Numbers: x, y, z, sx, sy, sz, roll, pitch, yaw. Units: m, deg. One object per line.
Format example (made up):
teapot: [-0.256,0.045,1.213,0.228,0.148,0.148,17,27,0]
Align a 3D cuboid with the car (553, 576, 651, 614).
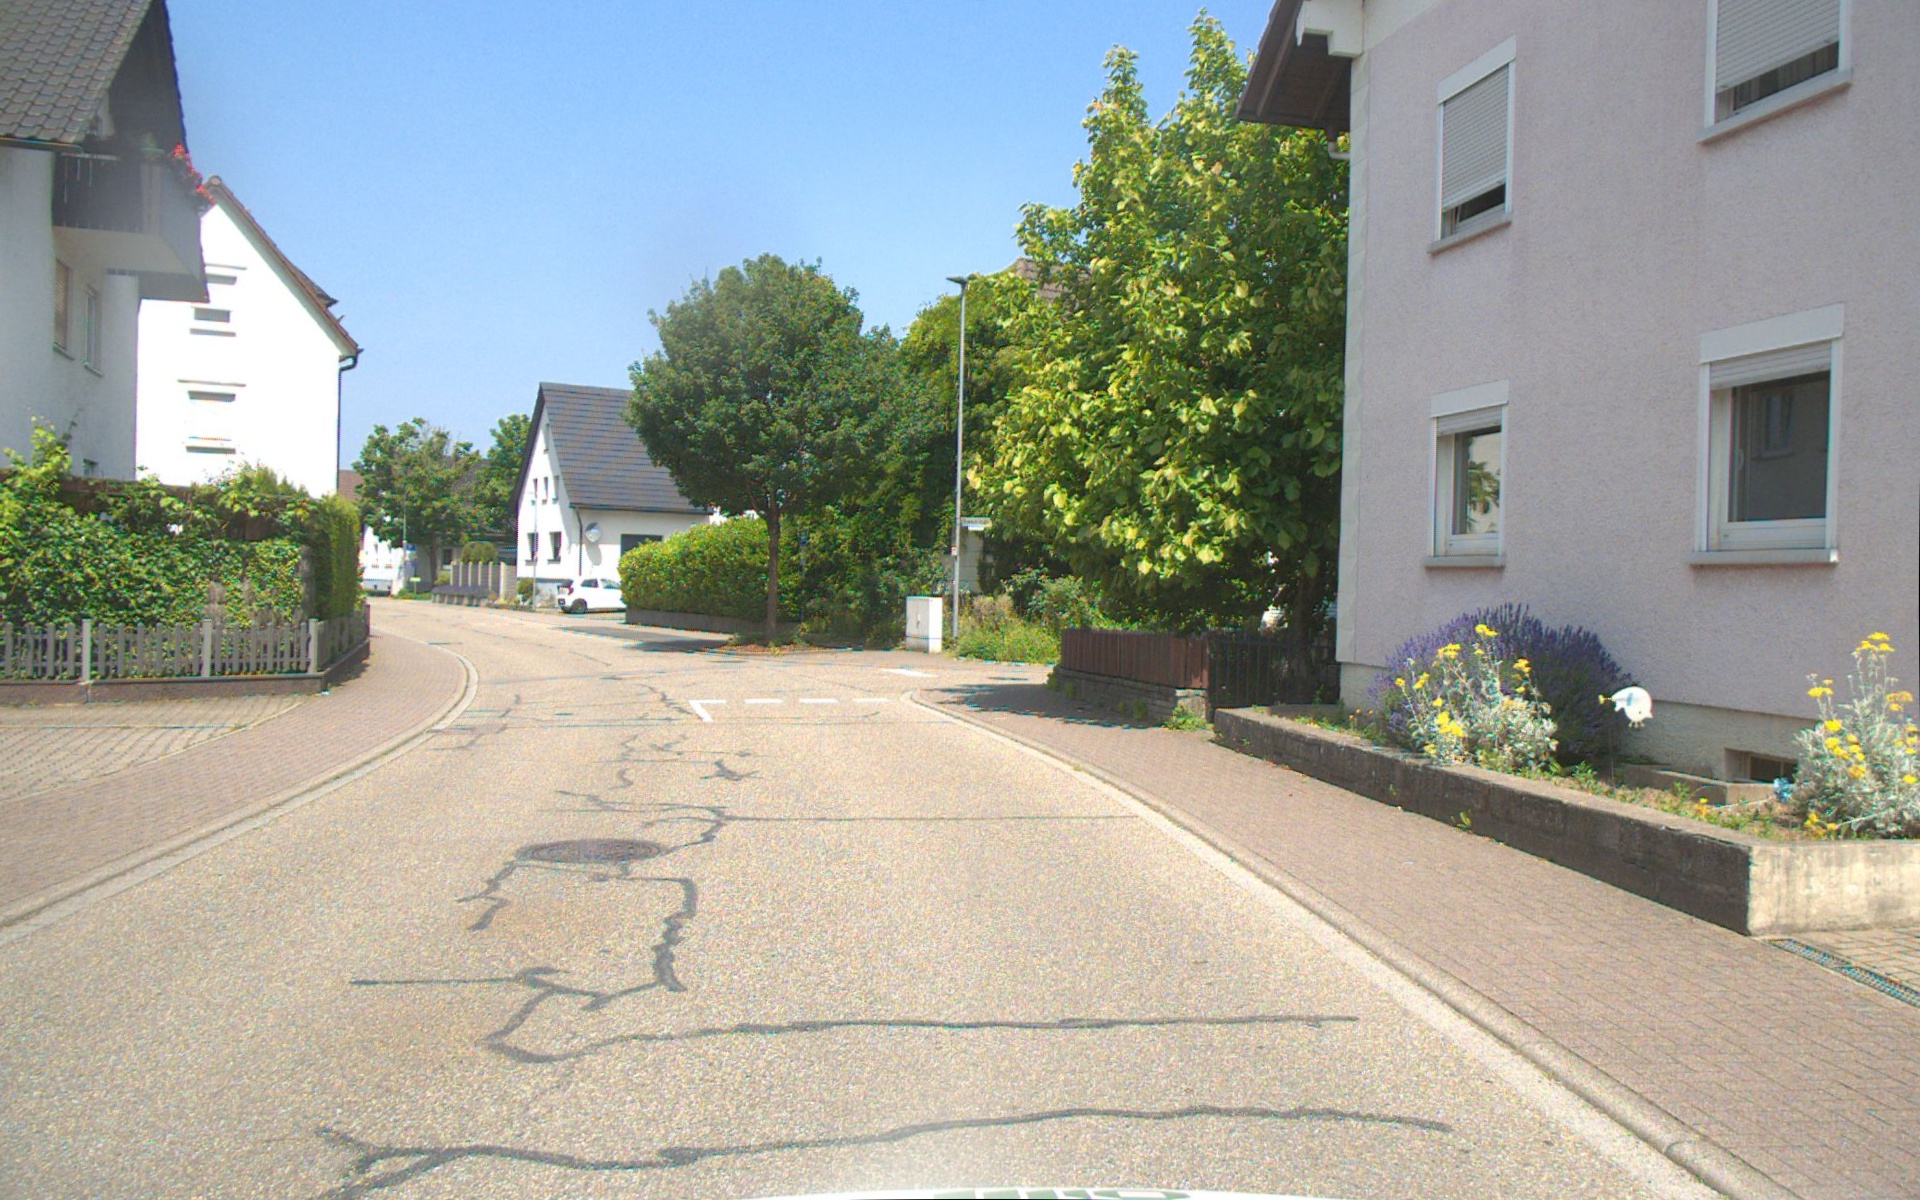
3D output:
car: [-14.821,-0.224,68.596,3.623,1.500,1.746,-1,2,-33]
